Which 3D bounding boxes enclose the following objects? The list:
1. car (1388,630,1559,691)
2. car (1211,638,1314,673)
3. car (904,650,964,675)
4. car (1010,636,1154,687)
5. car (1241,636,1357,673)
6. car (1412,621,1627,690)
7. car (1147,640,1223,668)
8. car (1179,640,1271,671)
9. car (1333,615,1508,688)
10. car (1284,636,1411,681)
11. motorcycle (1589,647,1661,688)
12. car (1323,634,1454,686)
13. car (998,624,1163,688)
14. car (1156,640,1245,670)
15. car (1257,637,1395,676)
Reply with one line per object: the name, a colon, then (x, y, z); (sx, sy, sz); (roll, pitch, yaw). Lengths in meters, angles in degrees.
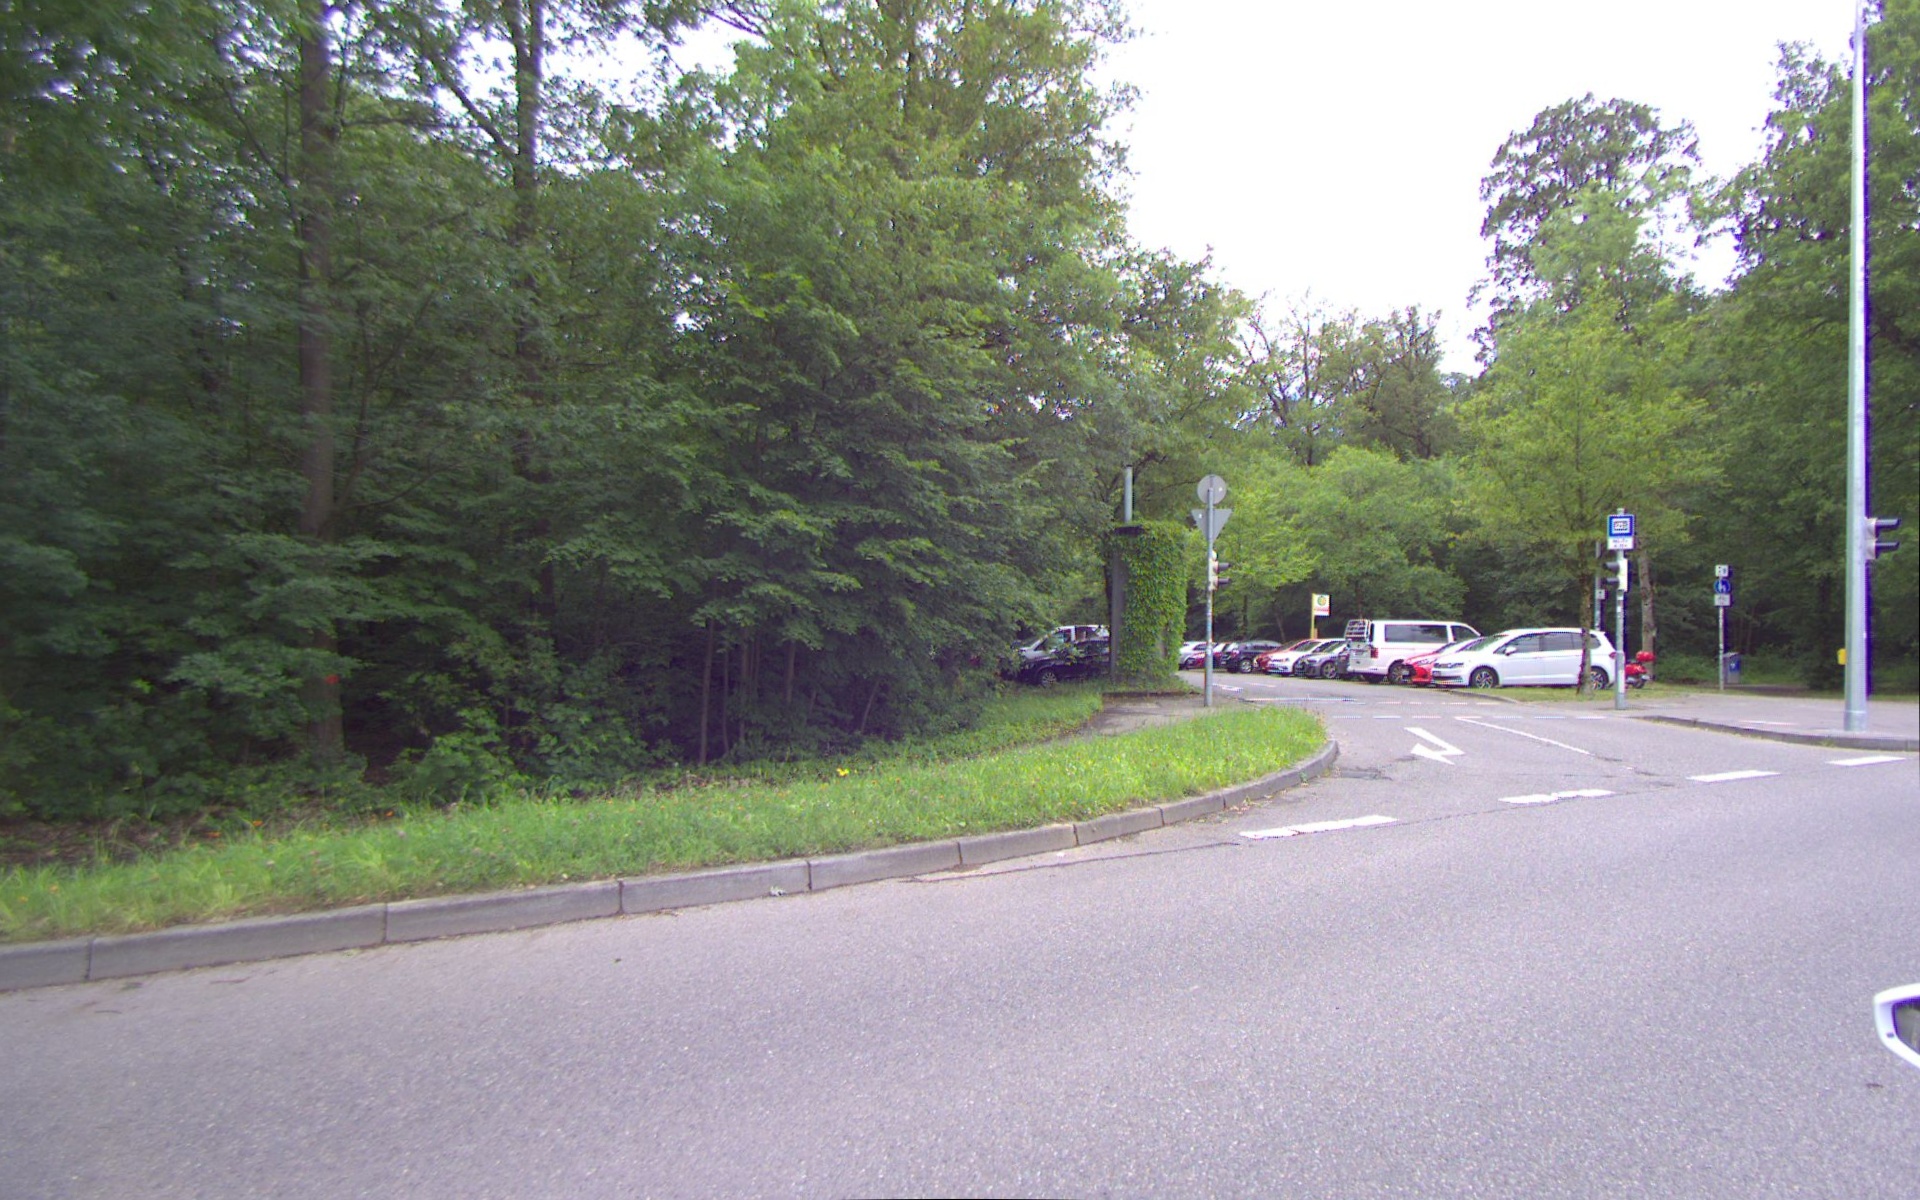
car: (14.783, 1.725, 29.096); (3.929, 1.575, 1.948); (1, -2, 4)
car: (13.330, 2.430, 44.351); (3.925, 1.502, 1.921); (0, -3, -6)
car: (-1.779, 4.251, 68.488); (3.899, 1.649, 1.997); (0, -3, -7)
car: (3.491, 1.780, 29.209); (3.922, 1.397, 1.722); (1, -2, -3)
car: (14.079, 2.288, 41.859); (4.163, 1.499, 1.918); (1, -3, -7)
car: (14.699, 1.470, 26.619); (4.444, 1.715, 2.167); (0, -3, 2)
car: (12.157, 2.929, 54.372); (3.647, 1.530, 1.749); (1, -3, -10)
car: (12.982, 2.719, 49.396); (3.929, 1.468, 1.938); (0, -3, -11)
car: (14.562, 1.612, 31.915); (4.574, 2.048, 2.083); (2, -1, -3)
car: (14.163, 2.154, 36.788); (3.924, 1.502, 1.877); (2, -4, -5)
motorcycle: (20.319, 2.052, 30.739); (0.664, 1.176, 2.009); (1, -2, -9)
car: (14.677, 2.051, 34.498); (3.664, 1.575, 1.845); (2, -1, -5)
car: (3.770, 1.761, 32.053); (5.003, 1.940, 1.978); (0, -2, -2)
car: (12.412, 2.847, 52.003); (4.064, 1.480, 1.863); (0, -3, -9)
car: (14.211, 2.187, 39.163); (4.695, 1.495, 1.852); (0, -2, -4)
